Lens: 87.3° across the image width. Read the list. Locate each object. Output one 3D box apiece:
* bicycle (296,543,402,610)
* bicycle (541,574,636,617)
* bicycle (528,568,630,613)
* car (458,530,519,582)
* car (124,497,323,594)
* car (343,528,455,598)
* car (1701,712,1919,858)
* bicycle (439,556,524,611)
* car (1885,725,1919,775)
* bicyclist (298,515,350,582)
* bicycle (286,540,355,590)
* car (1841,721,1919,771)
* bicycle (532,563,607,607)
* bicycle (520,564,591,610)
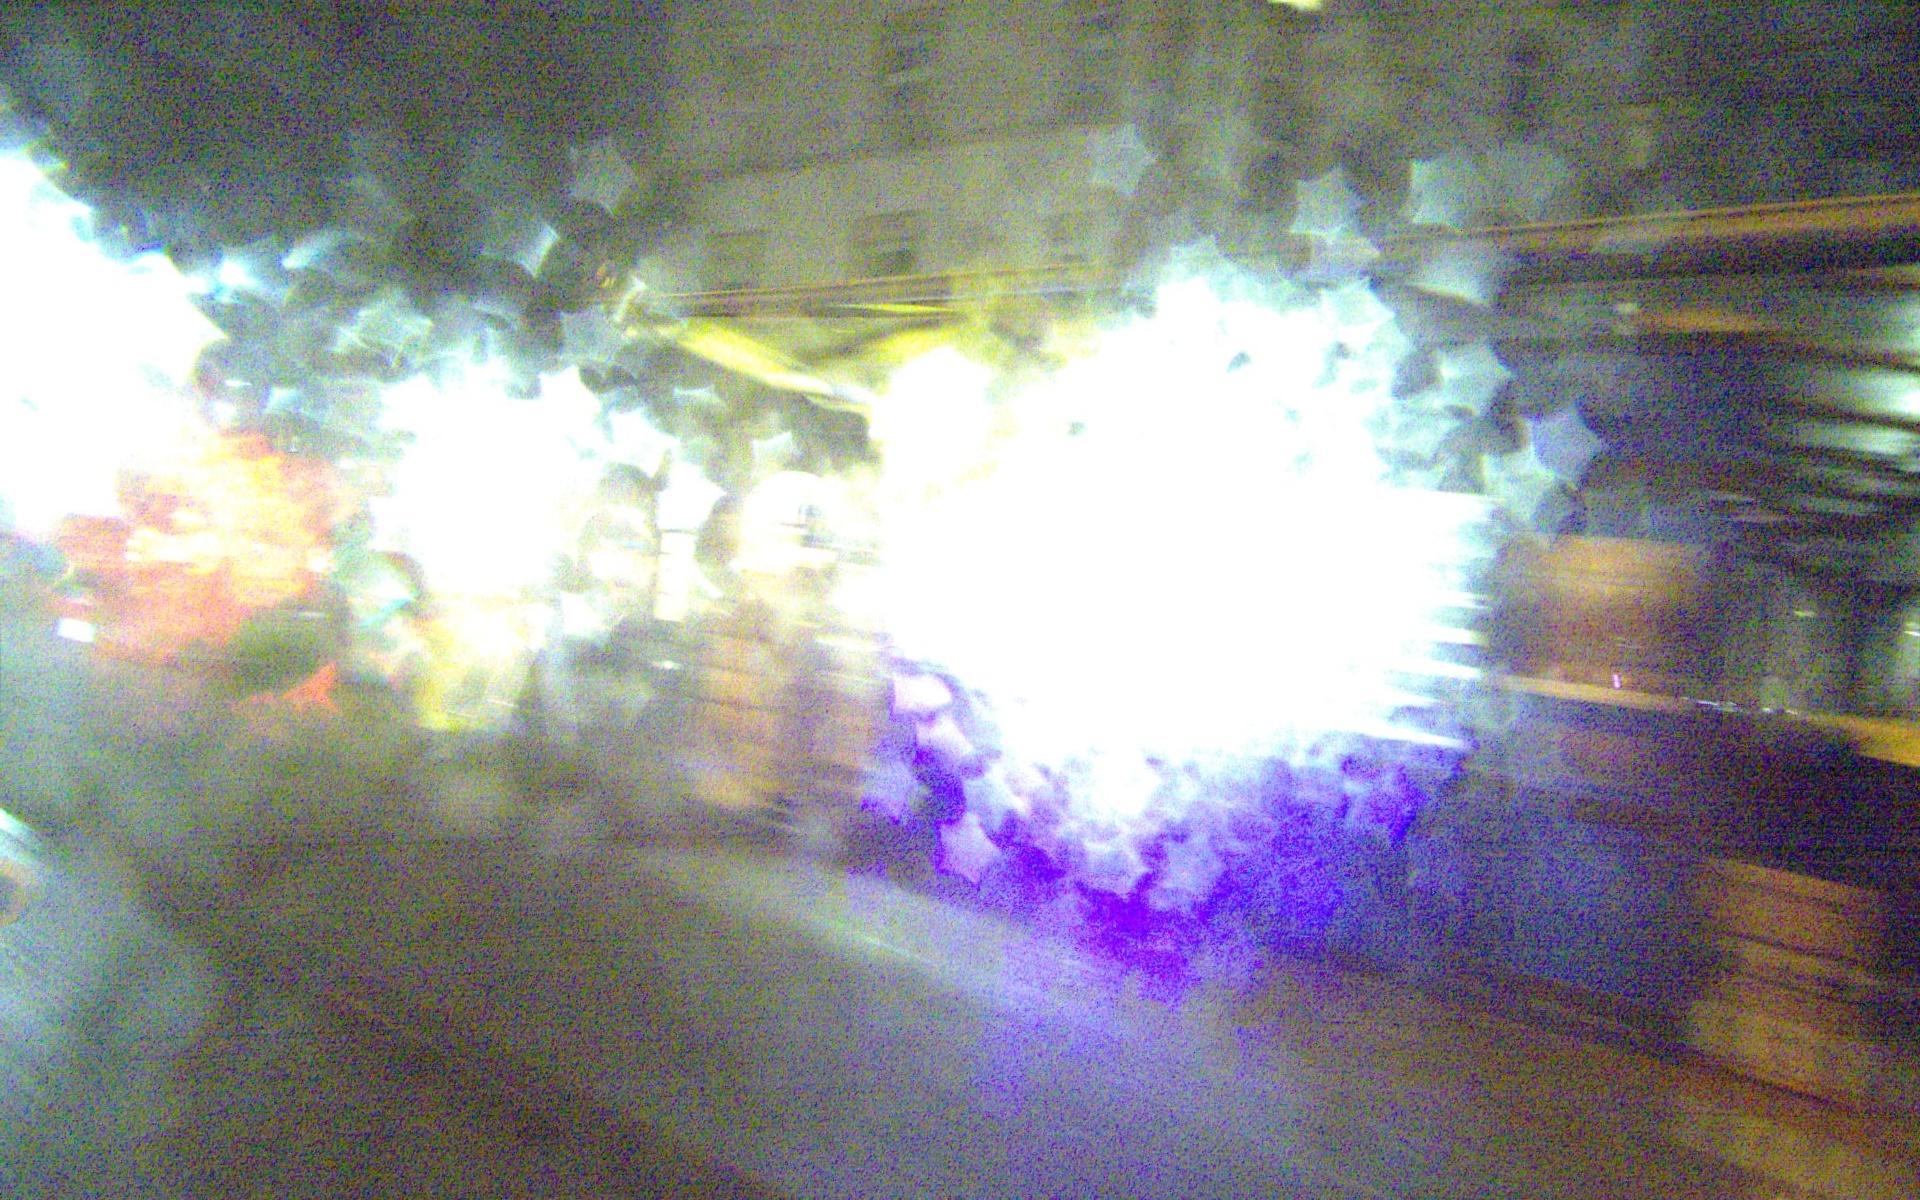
[{"bbox_3d":[-11.724,-0.441,19.332,1.633,1.073,0.450,7,1,-3],"label":"bicycle"},{"bbox_3d":[-12.105,-0.144,32.870,2.728,1.039,0.724,7,0,-8],"label":"bicycle"},{"bbox_3d":[-11.717,-0.294,31.008,2.728,1.039,0.724,7,0,-8],"label":"bicycle"},{"bbox_3d":[-19.418,-1.761,41.325,1.977,1.747,3.976,9,-3,-26],"label":"car"},{"bbox_3d":[-16.694,-1.174,23.031,1.704,1.631,3.466,7,-3,3],"label":"car"},{"bbox_3d":[-17.700,-1.093,31.943,1.970,1.747,3.991,8,-3,-15],"label":"car"},{"bbox_3d":[12.943,2.670,15.356,1.740,1.521,4.417,7,-1,27],"label":"car"},{"bbox_3d":[-11.031,-0.371,23.223,1.633,1.073,0.450,7,1,-3],"label":"bicycle"},{"bbox_3d":[32.649,5.126,33.784,1.583,1.476,3.409,7,0,32],"label":"car"},{"bbox_3d":[-17.502,-1.414,27.691,0.785,1.694,0.707,7,-2,-5],"label":"bicyclist"},{"bbox_3d":[-17.565,-0.941,27.684,0.763,1.162,1.716,8,-2,-5],"label":"bicycle"},{"bbox_3d":[35.268,5.542,38.563,1.583,1.476,3.409,7,0,32],"label":"car"},{"bbox_3d":[-11.436,-0.436,29.507,1.903,1.073,0.450,7,1,-8],"label":"bicycle"},{"bbox_3d":[-11.300,-0.349,28.119,1.704,1.073,0.450,7,1,-3],"label":"bicycle"}]
